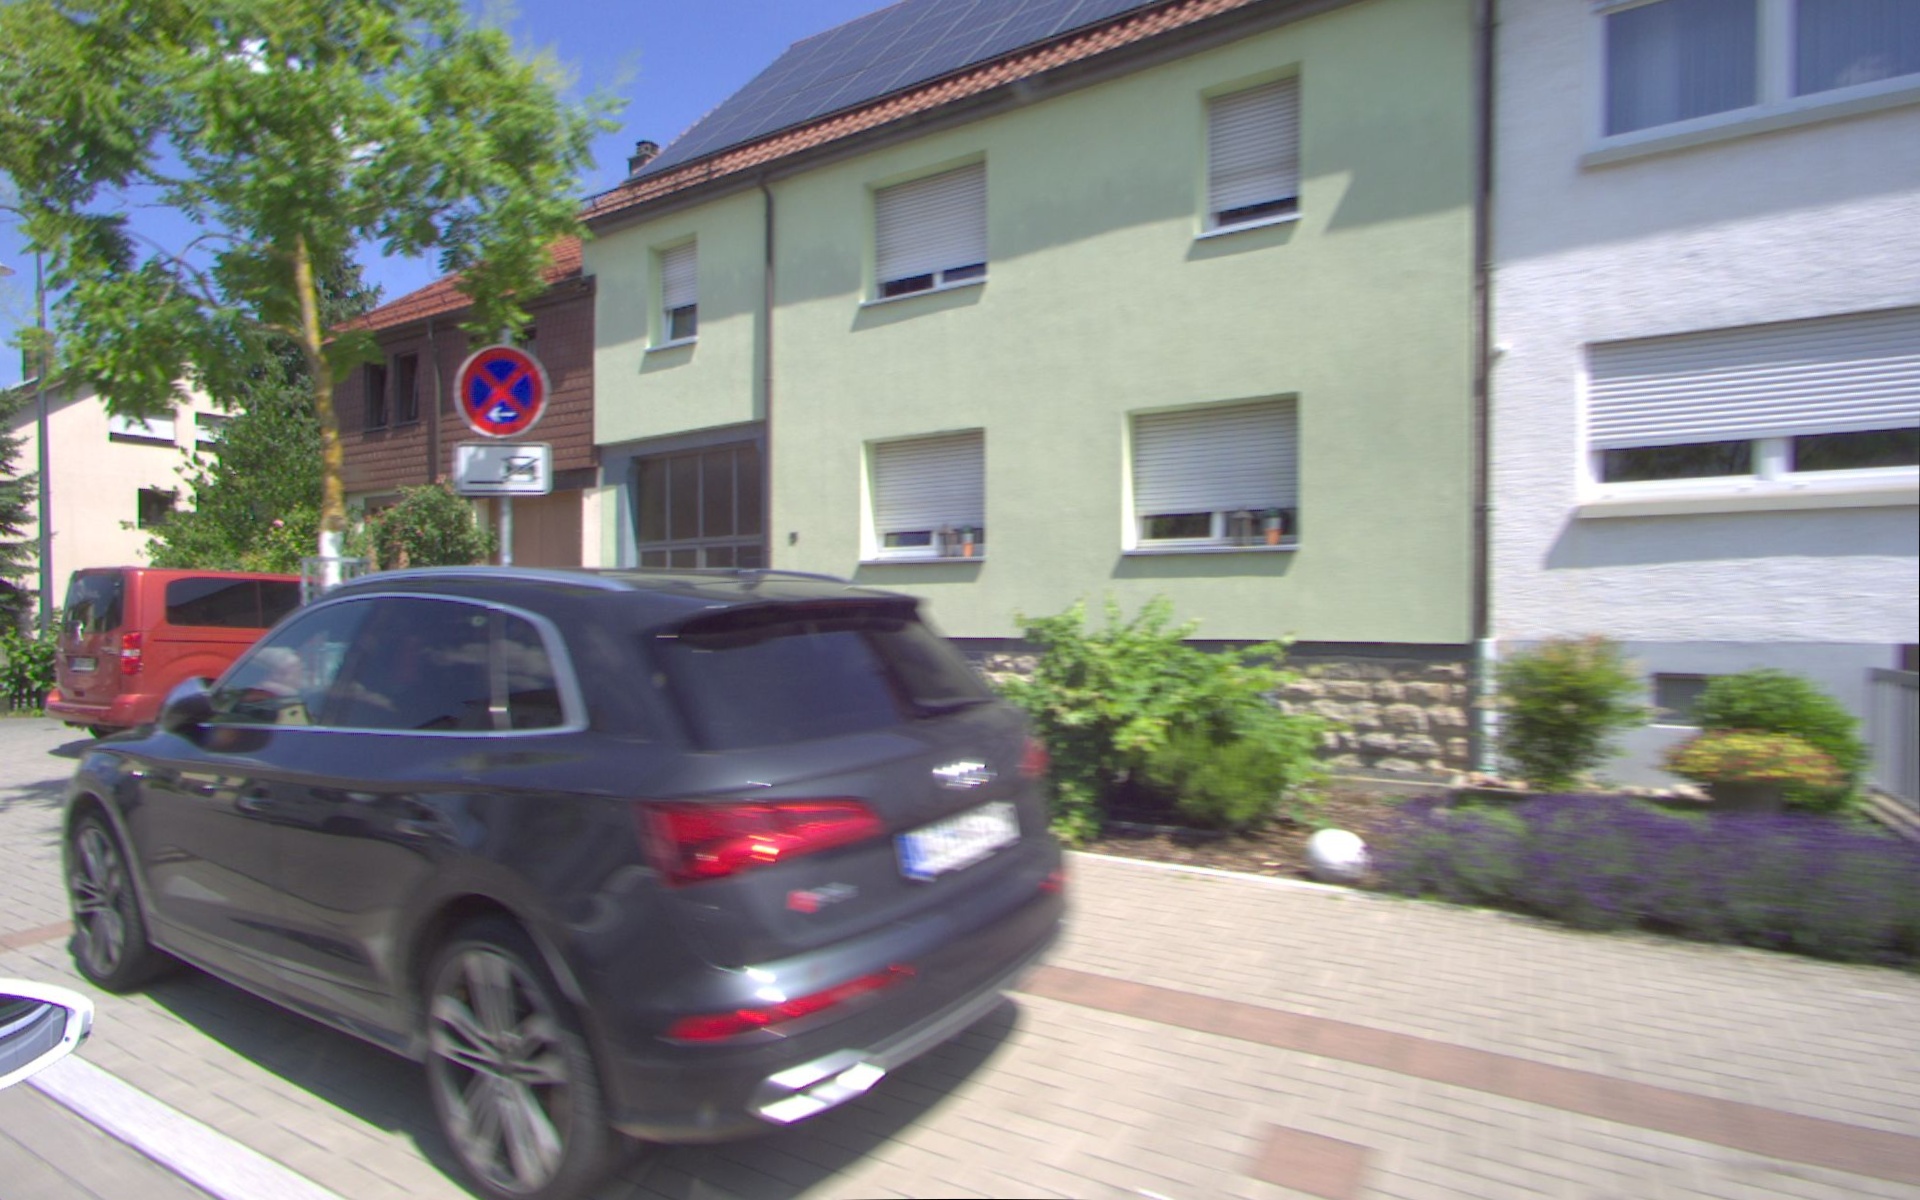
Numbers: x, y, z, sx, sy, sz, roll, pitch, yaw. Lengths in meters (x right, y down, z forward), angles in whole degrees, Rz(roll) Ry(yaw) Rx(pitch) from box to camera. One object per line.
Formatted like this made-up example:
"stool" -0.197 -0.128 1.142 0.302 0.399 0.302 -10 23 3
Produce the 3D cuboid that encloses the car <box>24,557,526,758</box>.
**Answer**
"car" -7.899 0.650 12.105 1.990 1.917 4.615 -1 -2 29

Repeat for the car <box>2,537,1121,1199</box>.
"car" -1.773 0.682 3.911 4.383 1.658 1.859 0 2 33
